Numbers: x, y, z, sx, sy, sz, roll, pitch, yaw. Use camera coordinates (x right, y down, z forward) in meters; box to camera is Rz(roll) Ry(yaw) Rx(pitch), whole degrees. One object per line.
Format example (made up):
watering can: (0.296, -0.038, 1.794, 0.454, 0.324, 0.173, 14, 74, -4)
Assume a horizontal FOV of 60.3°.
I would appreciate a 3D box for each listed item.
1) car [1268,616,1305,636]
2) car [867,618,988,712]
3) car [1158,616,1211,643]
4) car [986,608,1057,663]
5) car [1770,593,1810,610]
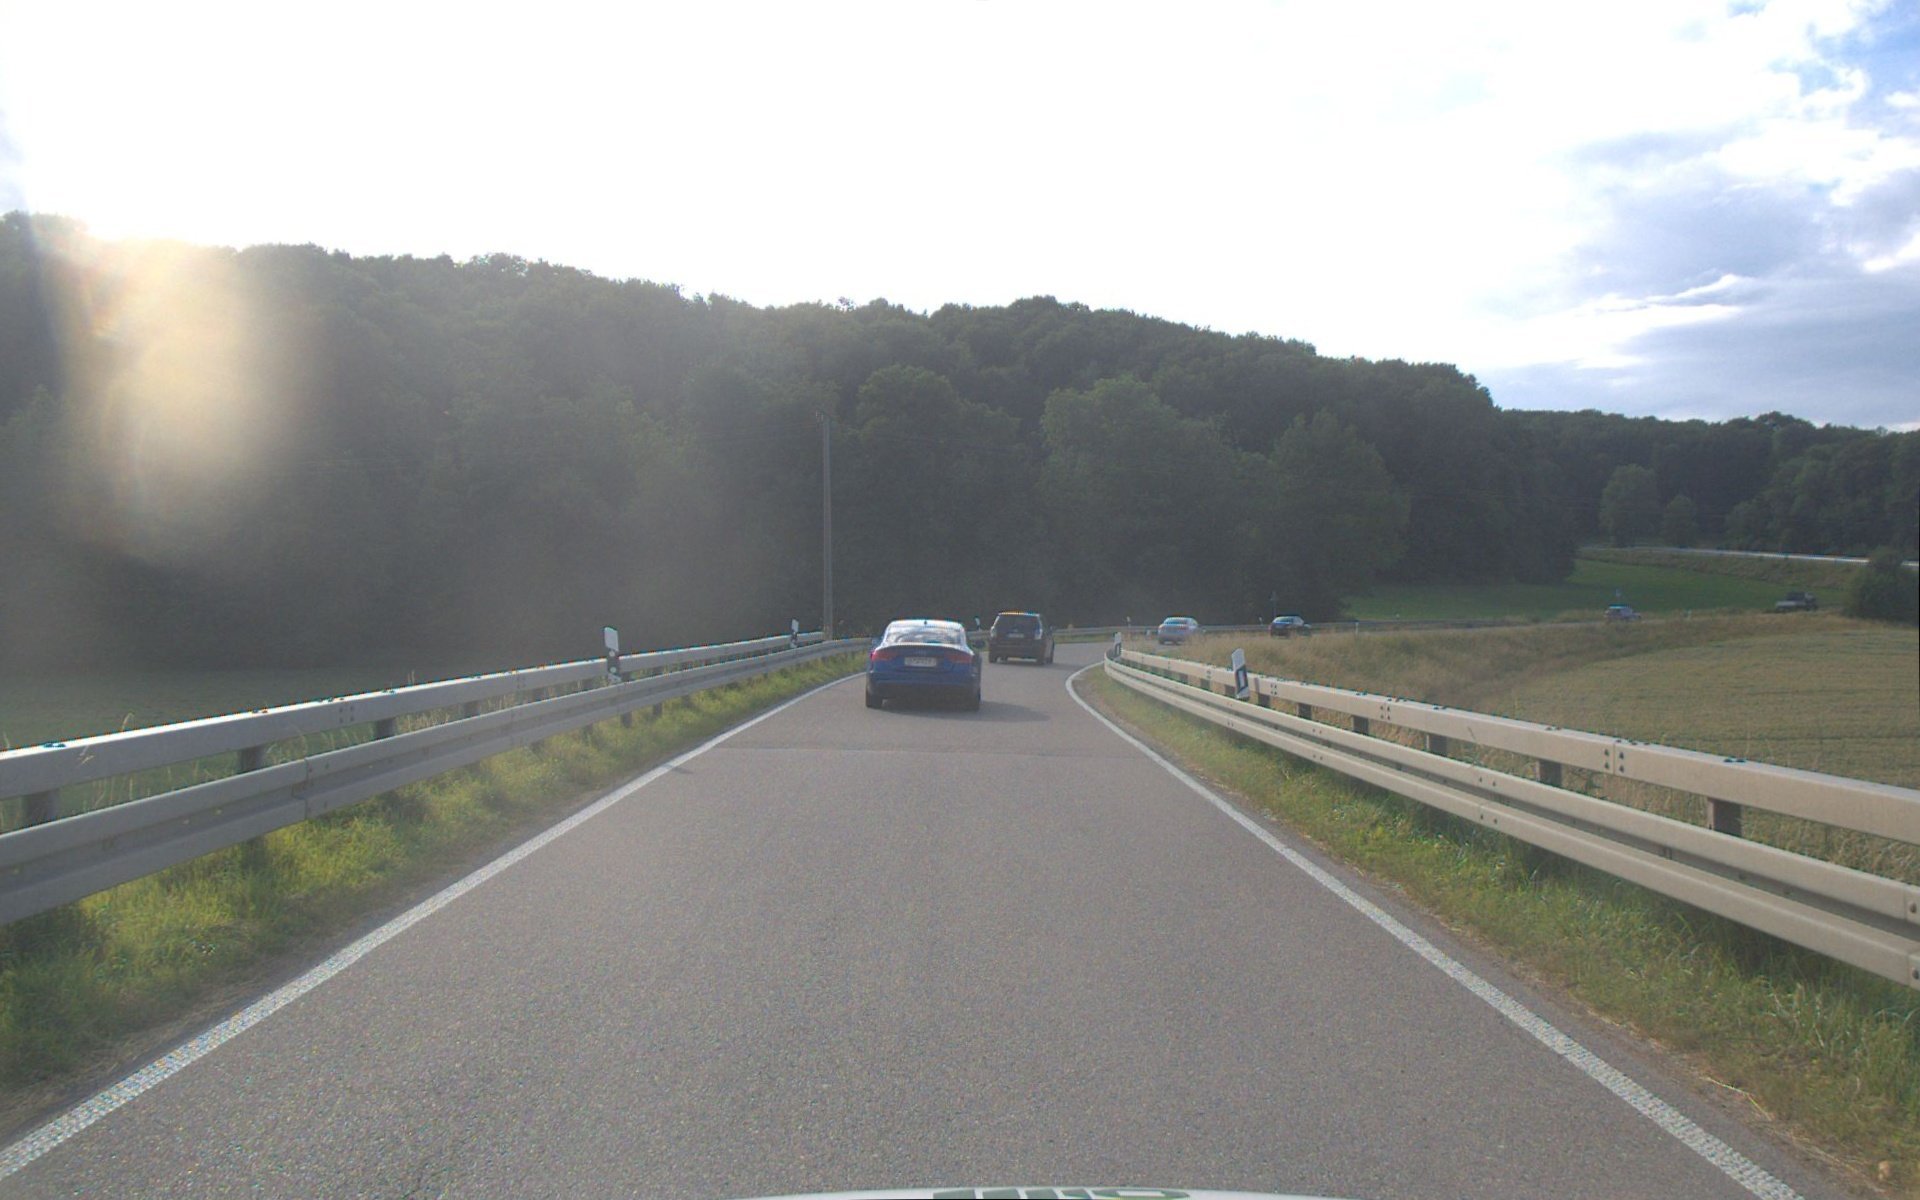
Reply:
car: (21.261, 1.692, 107.642, 1.443, 1.249, 3.294, -1, -3, 28)
car: (-0.497, 1.016, 26.973, 1.781, 1.362, 4.349, 1, -1, 0)
car: (11.838, 1.542, 87.196, 1.649, 1.400, 3.997, -1, -1, 25)
car: (1.995, 1.094, 52.687, 1.822, 1.596, 4.003, 2, 0, 8)
car: (86.397, 0.156, 172.165, 3.946, 1.803, 1.980, 0, 0, -31)
